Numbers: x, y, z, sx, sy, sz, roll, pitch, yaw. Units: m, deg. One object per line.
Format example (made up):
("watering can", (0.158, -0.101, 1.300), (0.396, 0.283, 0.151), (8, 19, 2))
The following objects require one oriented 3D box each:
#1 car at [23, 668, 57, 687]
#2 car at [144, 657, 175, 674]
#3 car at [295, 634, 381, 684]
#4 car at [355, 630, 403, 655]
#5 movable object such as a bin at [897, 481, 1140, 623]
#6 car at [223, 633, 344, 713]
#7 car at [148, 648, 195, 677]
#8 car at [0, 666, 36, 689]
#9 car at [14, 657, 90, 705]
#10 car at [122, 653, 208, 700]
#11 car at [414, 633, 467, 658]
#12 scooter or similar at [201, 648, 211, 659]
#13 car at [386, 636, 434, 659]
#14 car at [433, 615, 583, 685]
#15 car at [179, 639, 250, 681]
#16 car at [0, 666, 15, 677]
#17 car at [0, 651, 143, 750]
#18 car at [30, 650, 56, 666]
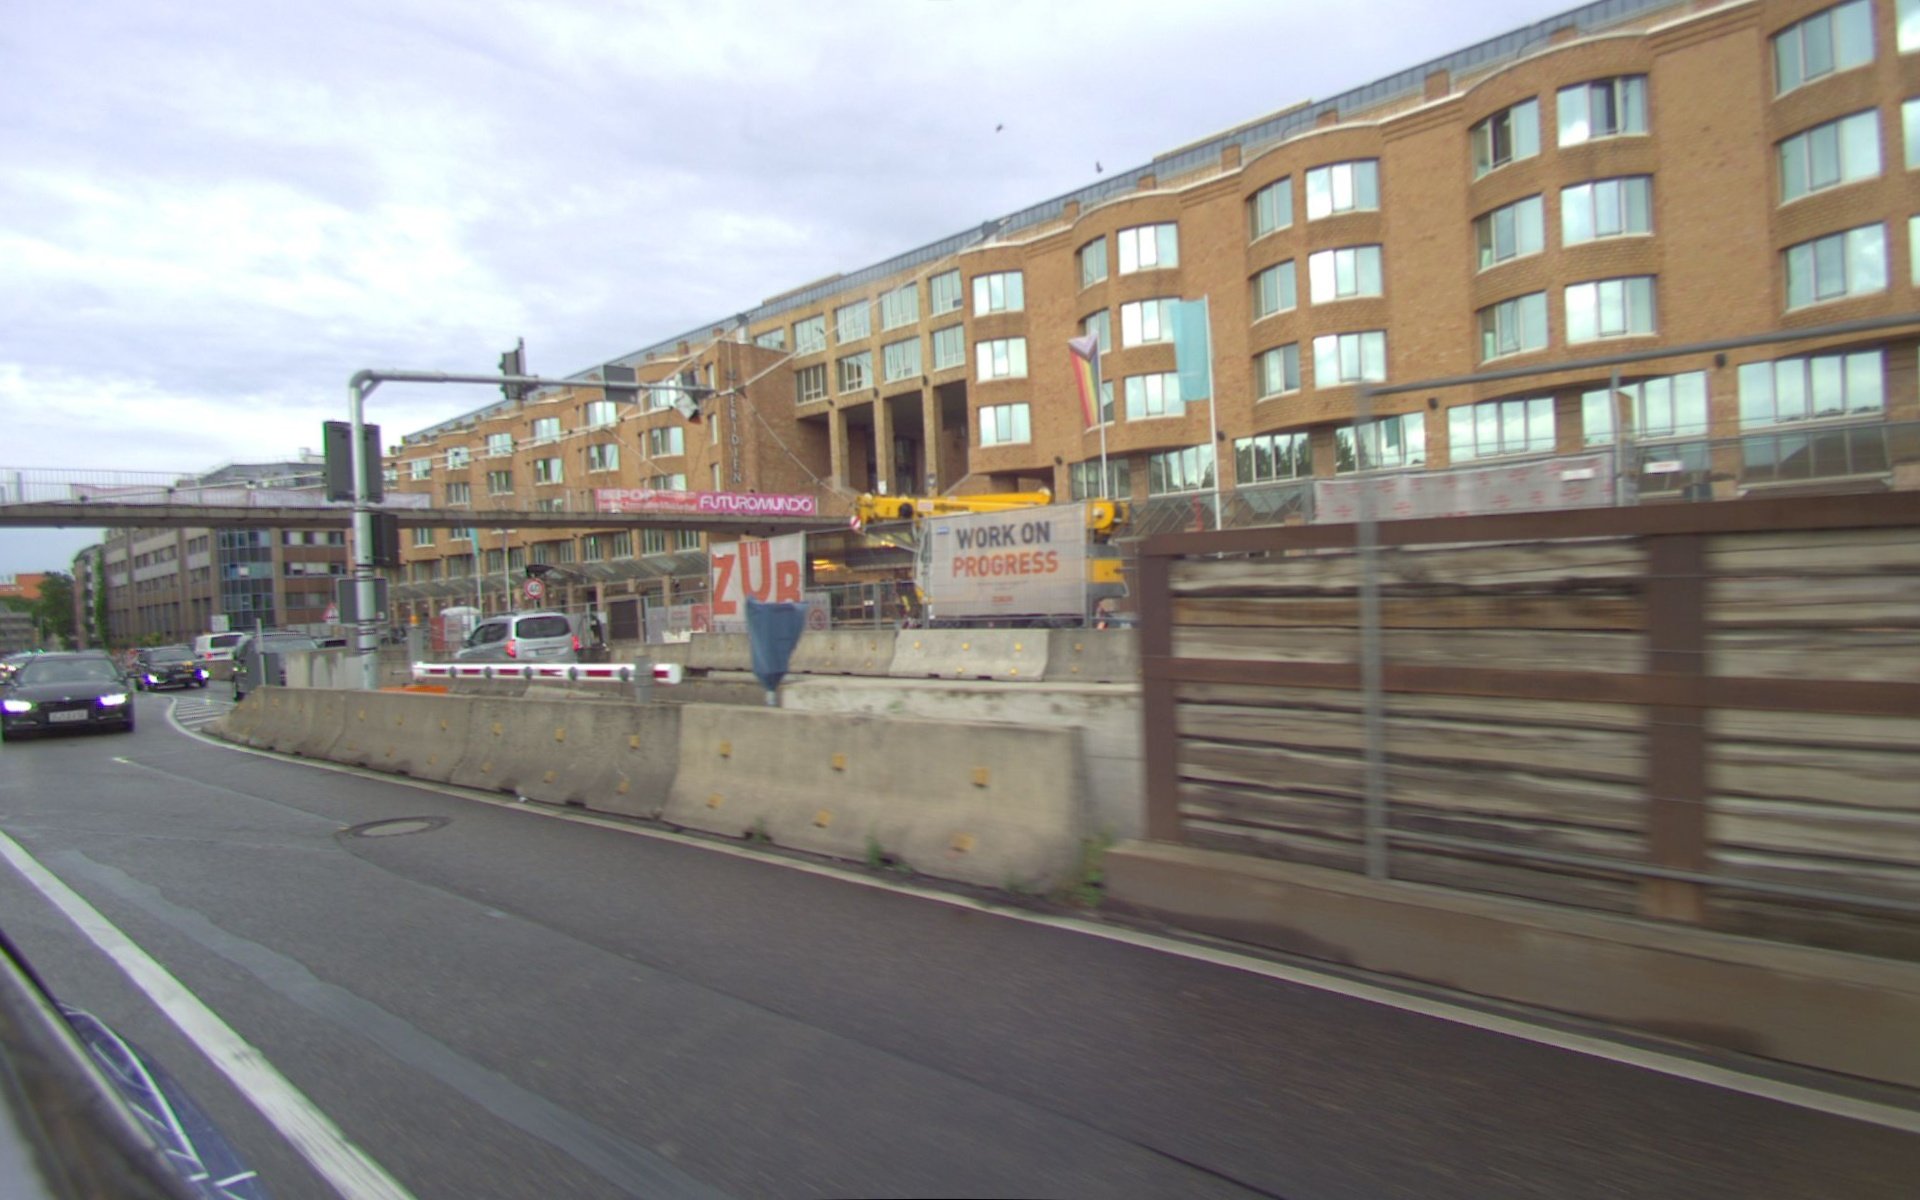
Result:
("car", (-84.148, 7.112, 92.576), (4.654, 1.545, 1.749), (-4, 0, 41))
("car", (-83.407, 6.840, 105.477), (4.361, 1.538, 1.742), (-4, -1, 41))
("car", (-23.437, 2.237, 38.067), (4.035, 1.635, 1.785), (-5, -1, 45))
("car", (-50.568, 3.700, 88.040), (5.009, 1.900, 1.974), (-4, 0, 40))
("movable object such as a bin", (1.052, -0.778, 19.507), (4.288, 2.295, 2.006), (-3, -3, 39))
("car", (-17.938, 1.903, 26.763), (4.253, 1.814, 1.774), (-4, 0, 45))
("car", (-49.615, 3.895, 63.647), (3.904, 1.635, 1.785), (-3, 0, 45))
("car", (-70.806, 5.792, 76.006), (4.657, 1.545, 1.748), (-4, 0, 44))
("car", (-34.362, 3.025, 38.256), (4.657, 1.545, 1.748), (-4, 0, 44))
("car", (-30.076, 2.877, 38.263), (4.354, 1.545, 1.749), (-4, 0, 42))
("car", (-40.996, 3.574, 79.817), (5.048, 1.703, 1.973), (-4, 0, 42))
("scooter or similar", (-82.154, 5.812, 110.285), (1.041, 1.071, 0.445), (-4, 0, 31))
("car", (-45.313, 3.913, 83.342), (4.538, 1.605, 1.973), (-4, 0, 42))
("car", (-11.569, 1.277, 25.761), (4.522, 1.561, 1.729), (-4, -1, 42))
("car", (-37.586, 3.047, 50.945), (5.299, 1.835, 1.787), (-5, -1, 42))
("car", (-175.328, 13.165, 186.098), (4.876, 1.796, 1.866), (-4, 0, 42))
("car", (-16.255, 1.729, 18.567), (1.745, 1.454, 4.666), (-4, 0, -37))
("car", (-123.298, 7.825, 136.093), (4.866, 1.899, 1.973), (-4, 0, 41))
